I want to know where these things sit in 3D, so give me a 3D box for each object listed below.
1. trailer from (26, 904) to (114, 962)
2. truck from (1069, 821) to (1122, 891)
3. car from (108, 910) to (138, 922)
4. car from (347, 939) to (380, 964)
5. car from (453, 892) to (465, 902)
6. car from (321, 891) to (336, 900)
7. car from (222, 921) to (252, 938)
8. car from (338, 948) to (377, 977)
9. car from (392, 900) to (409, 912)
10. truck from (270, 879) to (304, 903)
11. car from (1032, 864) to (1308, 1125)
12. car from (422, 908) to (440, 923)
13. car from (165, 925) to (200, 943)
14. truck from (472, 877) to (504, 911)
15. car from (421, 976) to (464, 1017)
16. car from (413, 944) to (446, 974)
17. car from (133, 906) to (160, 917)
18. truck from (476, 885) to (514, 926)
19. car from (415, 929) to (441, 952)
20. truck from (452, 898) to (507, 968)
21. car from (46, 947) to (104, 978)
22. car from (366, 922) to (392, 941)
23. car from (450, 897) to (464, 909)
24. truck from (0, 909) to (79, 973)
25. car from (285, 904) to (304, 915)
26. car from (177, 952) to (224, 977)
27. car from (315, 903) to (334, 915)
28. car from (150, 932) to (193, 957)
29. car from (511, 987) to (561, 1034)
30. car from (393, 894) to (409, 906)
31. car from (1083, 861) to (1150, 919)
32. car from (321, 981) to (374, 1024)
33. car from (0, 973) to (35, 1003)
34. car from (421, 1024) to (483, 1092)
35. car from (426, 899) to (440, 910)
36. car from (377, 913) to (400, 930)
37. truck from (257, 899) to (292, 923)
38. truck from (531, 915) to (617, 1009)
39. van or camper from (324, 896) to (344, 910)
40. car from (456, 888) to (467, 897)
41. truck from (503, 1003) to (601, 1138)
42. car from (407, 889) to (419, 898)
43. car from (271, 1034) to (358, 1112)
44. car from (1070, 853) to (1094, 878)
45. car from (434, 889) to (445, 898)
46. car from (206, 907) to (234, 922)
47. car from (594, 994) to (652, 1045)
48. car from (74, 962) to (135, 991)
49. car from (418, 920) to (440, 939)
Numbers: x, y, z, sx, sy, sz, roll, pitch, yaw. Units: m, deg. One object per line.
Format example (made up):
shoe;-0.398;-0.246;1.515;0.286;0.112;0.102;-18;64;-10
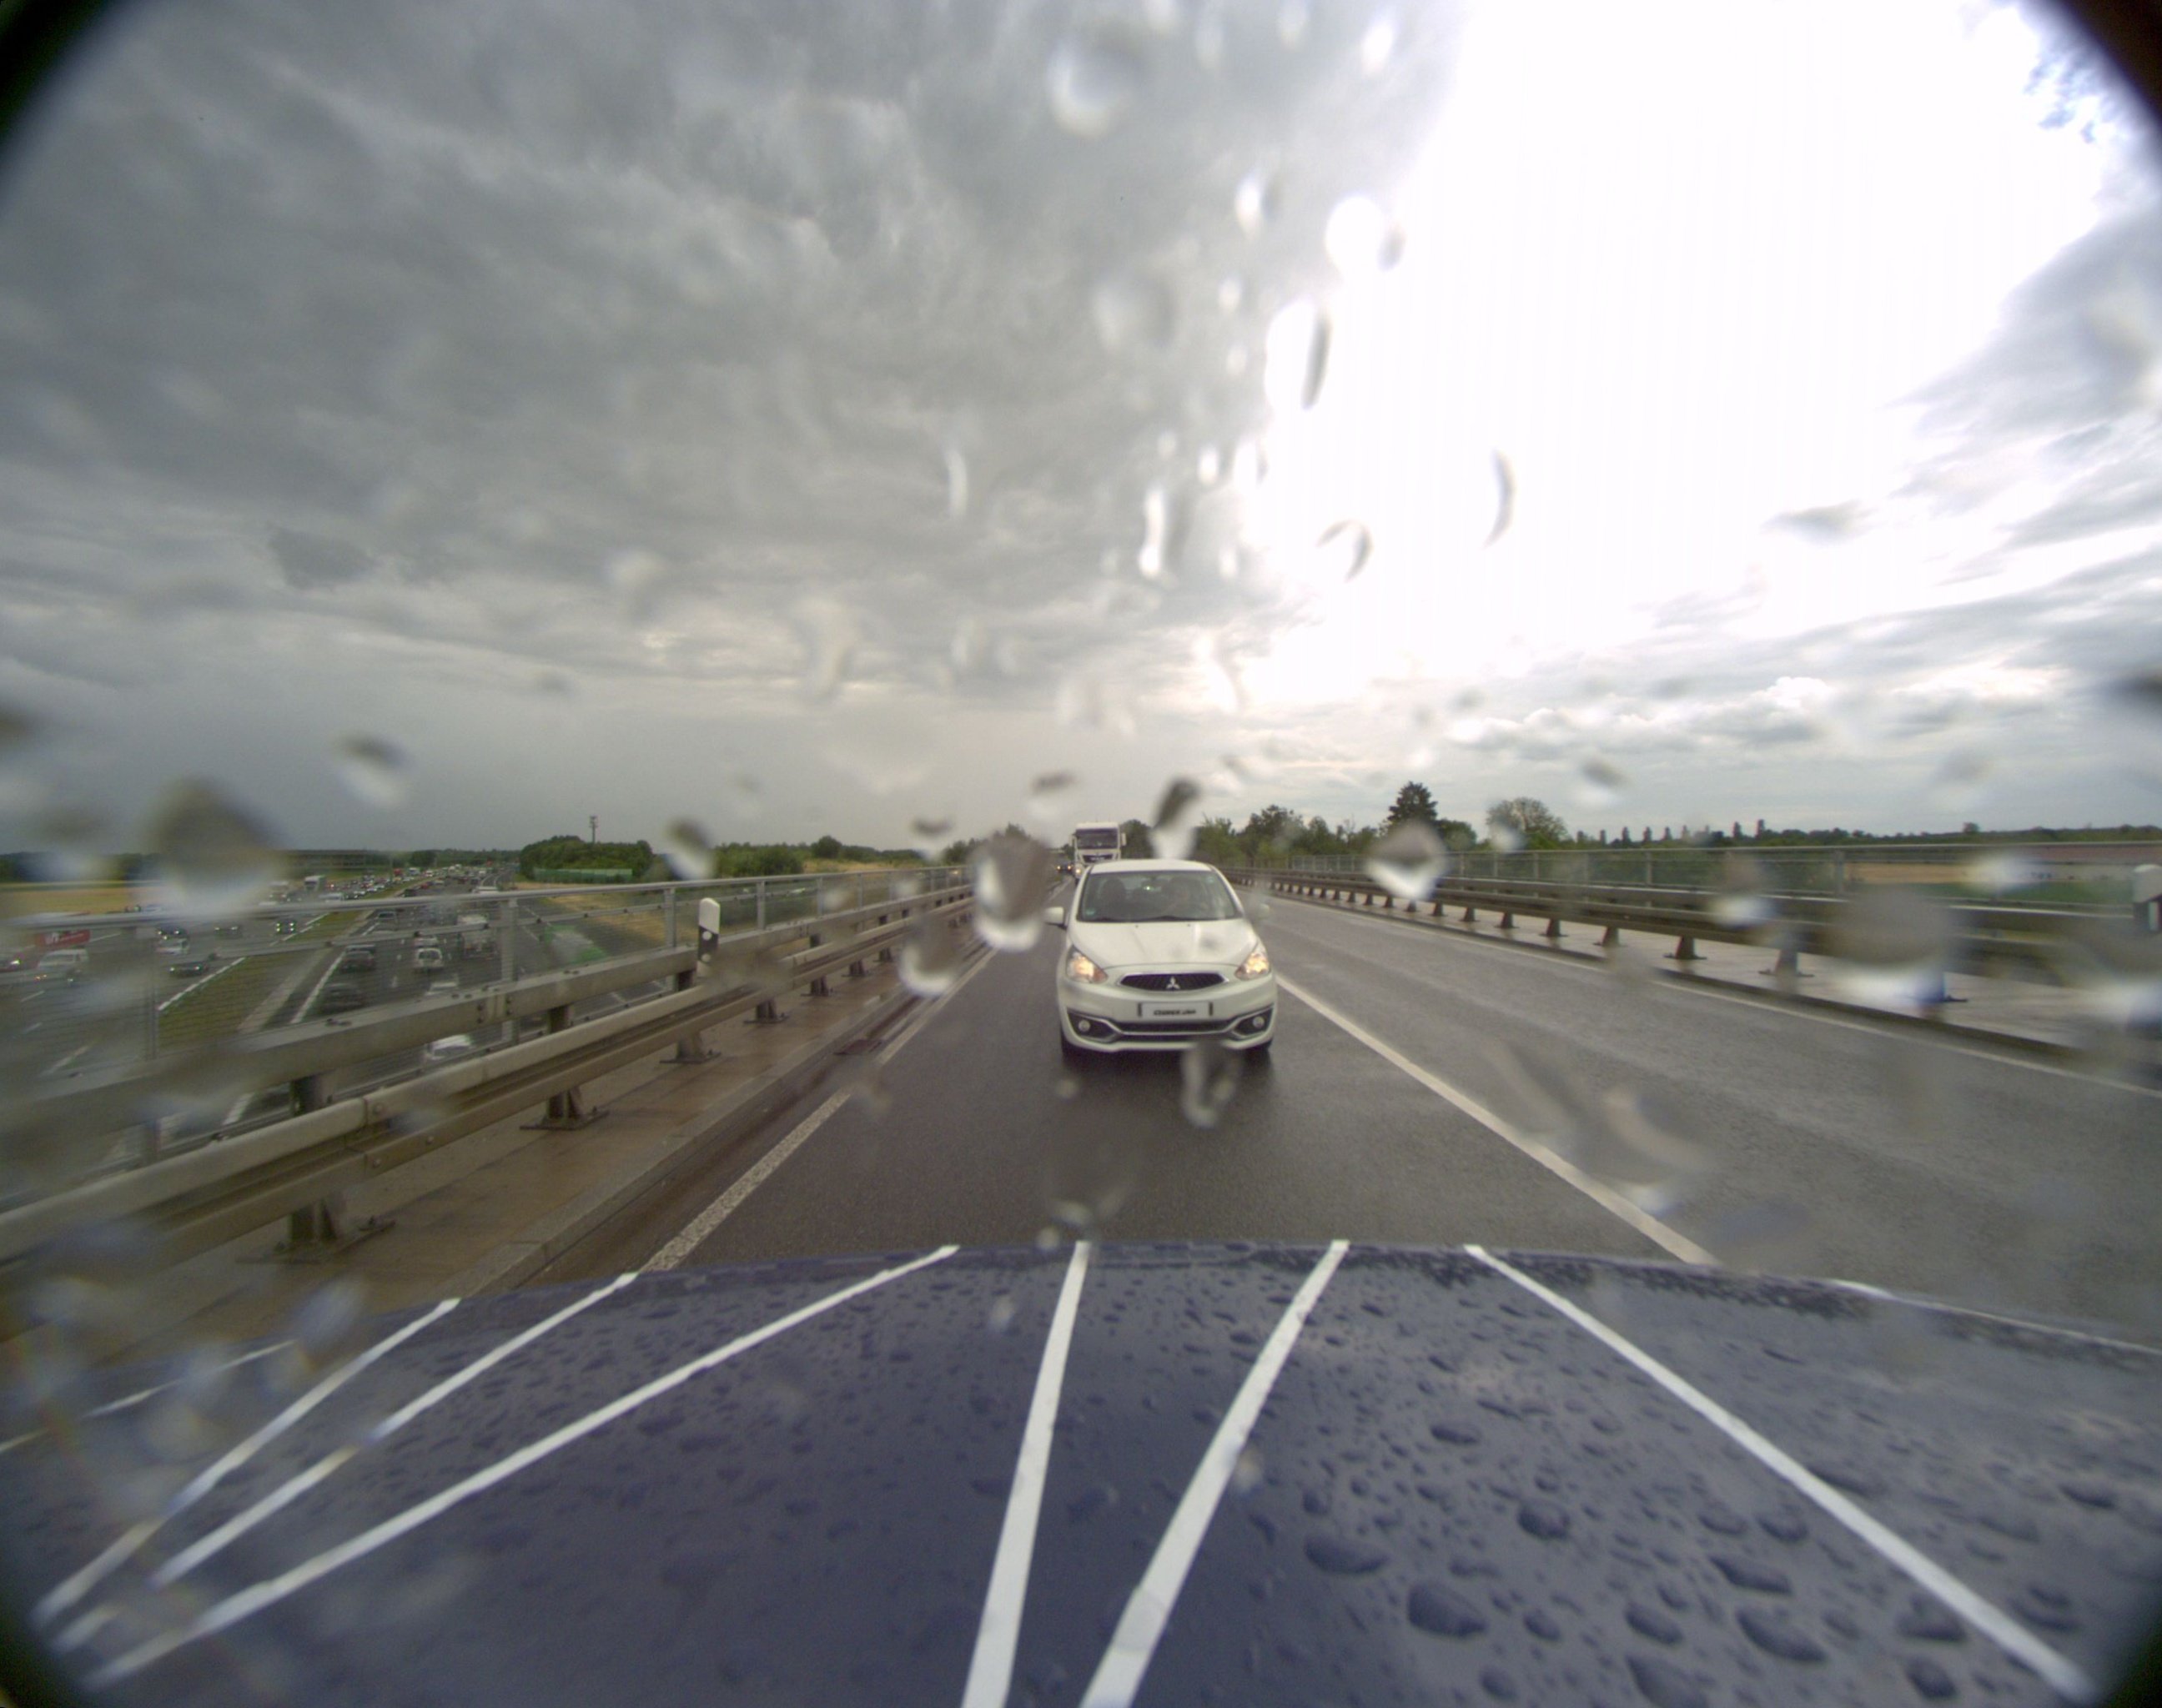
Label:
trailer;-95.121;7.255;71.689;2.691;4.602;9.882;-3;1;-41
truck;0.744;-0.076;43.545;2.631;3.537;8.474;-2;3;0
car;-139.071;8.930;110.290;1.818;1.428;4.711;-3;1;-41
car;-67.069;9.116;71.075;1.860;1.764;4.712;-3;1;-40
car;-129.739;9.002;158.458;1.860;1.764;4.712;-3;1;-40
car;-166.171;9.216;167.786;1.860;1.659;4.712;-3;1;-40
car;-105.253;9.361;94.825;1.818;1.659;4.712;-3;1;-40
car;-57.281;8.550;60.197;1.860;1.659;4.712;-3;1;-40
car;-114.913;8.768;128.342;1.860;1.764;4.712;-3;1;-40
truck;-177.497;8.110;169.964;2.799;4.871;12.724;-3;1;-36
car;0.584;0.913;6.825;1.675;1.476;4.129;-2;1;1
car;-96.722;9.147;113.058;1.860;1.764;4.712;-3;1;-40
car;-103.977;9.229;87.993;1.818;1.659;4.712;-3;1;-40
truck;-102.881;6.852;131.716;3.499;5.321;15.588;-3;1;-40
car;-39.277;8.682;46.760;1.860;1.659;4.712;-3;1;-40
car;-52.256;8.406;61.027;1.860;1.764;4.712;-3;1;-40
car;-147.859;9.032;120.228;1.818;1.428;4.711;-3;1;-41
truck;-87.439;7.525;113.266;3.499;5.321;15.588;-3;1;-40
car;-66.213;8.737;77.113;1.860;1.764;4.712;-3;1;-40
truck;-57.712;7.228;72.664;3.302;5.411;15.588;-3;1;-40
car;-80.098;8.585;60.571;1.818;1.873;4.711;-3;1;-41
car;-80.245;8.828;86.927;1.860;1.764;4.712;-3;1;-40
car;-107.072;8.452;130.360;1.860;1.764;4.712;-3;1;-40
truck;-88.751;7.194;64.247;2.691;4.599;9.727;-3;1;-41
car;-137.606;9.694;132.987;1.818;1.659;4.712;-3;1;-40
car;-71.691;8.960;61.921;1.818;1.428;4.711;-3;1;-41
car;-131.246;9.560;131.767;1.860;1.659;4.712;-3;1;-40
car;-85.912;8.522;71.848;1.818;1.836;4.711;-3;1;-41
car;-30.581;8.693;42.561;1.860;1.659;4.712;-3;1;-40
car;-129.455;8.814;144.588;2.003;2.002;3.989;-6;3;-43
car;0.955;0.952;21.740;1.675;1.366;4.129;-2;1;1
car;-43.619;8.772;45.265;1.860;1.659;4.712;-3;1;-40
car;-71.737;8.937;50.332;1.818;1.428;4.711;-3;1;-41
car;-27.013;8.655;32.660;1.860;1.659;4.712;-3;1;-40
car;-115.134;8.979;134.998;1.860;1.764;4.712;-3;1;-40
car;-89.239;8.642;97.923;1.860;1.764;4.712;-3;1;-40
truck;-124.678;8.745;117.541;2.601;3.161;8.373;-3;1;-40
truck;-37.966;7.607;56.502;3.302;5.135;15.588;-3;1;-40
van or camper;-144.859;9.430;147.448;2.063;2.436;7.311;-3;1;-40
car;-140.795;8.756;172.665;1.860;1.764;4.712;-3;1;-40
truck;-20.890;8.111;29.734;2.216;2.948;9.283;-3;1;-40
car;-153.315;9.012;174.472;1.860;1.764;4.712;-3;1;-40
car;-29.680;8.398;29.549;1.860;1.659;4.712;-3;1;-40
car;0.125;1.035;72.248;1.998;2.002;3.999;-5;2;1
car;-144.638;8.818;171.335;1.860;1.764;4.712;-3;1;-40
car;-120.277;8.410;106.181;1.818;1.659;4.712;-3;1;-40
car;-24.182;8.631;40.015;1.860;1.659;4.712;-3;1;-40
car;-72.107;9.004;56.177;1.818;1.428;4.711;-3;1;-41
car;-77.634;8.963;90.543;1.860;1.764;4.712;-3;1;-40
